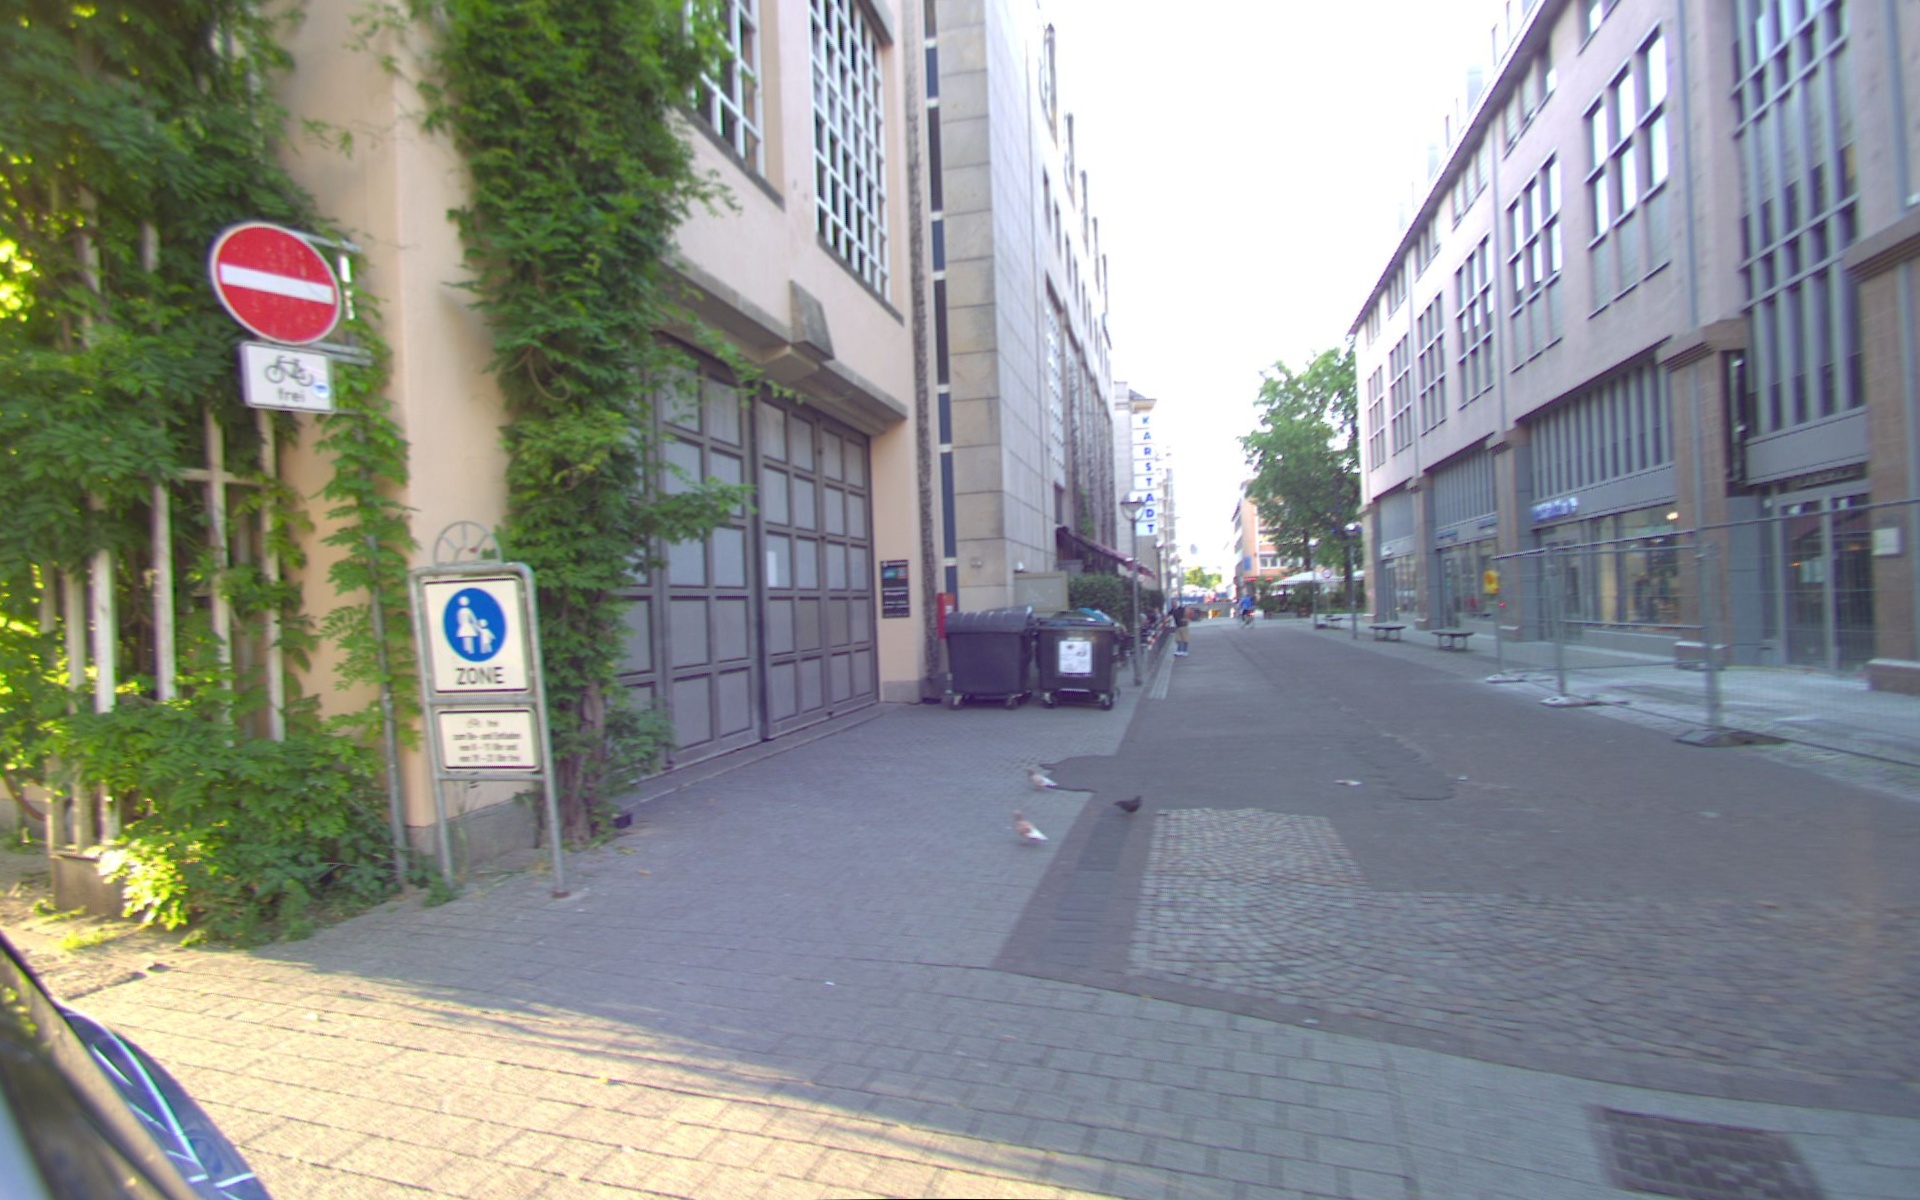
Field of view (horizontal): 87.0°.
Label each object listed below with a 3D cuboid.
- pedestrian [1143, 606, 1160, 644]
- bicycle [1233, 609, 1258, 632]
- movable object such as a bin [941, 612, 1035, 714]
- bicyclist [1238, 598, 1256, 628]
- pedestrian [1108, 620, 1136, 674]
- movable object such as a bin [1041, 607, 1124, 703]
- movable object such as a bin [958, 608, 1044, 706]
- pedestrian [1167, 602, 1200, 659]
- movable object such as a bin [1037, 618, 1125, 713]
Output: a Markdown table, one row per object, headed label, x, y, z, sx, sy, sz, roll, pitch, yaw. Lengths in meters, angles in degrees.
| label | x | y | z | sx | sy | sz | roll | pitch | yaw |
| --- | --- | --- | --- | --- | --- | --- | --- | --- | --- |
| pedestrian | 7.316 | 0.963 | 38.574 | 0.583 | 1.419 | 0.630 | -2 | -1 | 12 |
| bicycle | 13.818 | 0.989 | 48.995 | 0.536 | 1.059 | 1.950 | -2 | -1 | -4 |
| movable object such as a bin | 0.445 | 0.913 | 15.114 | 1.219 | 1.448 | 1.164 | -1 | -1 | 11 |
| bicyclist | 13.829 | 0.624 | 48.809 | 0.580 | 1.419 | 0.633 | -2 | -1 | -3 |
| pedestrian | 3.774 | 1.091 | 23.573 | 0.583 | 1.210 | 0.630 | -2 | -1 | 12 |
| movable object such as a bin | 2.011 | 0.864 | 16.458 | 1.264 | 1.478 | 1.164 | 1 | 0 | 11 |
| movable object such as a bin | 0.678 | 0.896 | 16.297 | 1.219 | 1.499 | 1.164 | -1 | -1 | 11 |
| pedestrian | 6.423 | 0.869 | 29.078 | 0.695 | 1.599 | 0.713 | -3 | -1 | 33 |
| movable object such as a bin | 1.835 | 0.951 | 15.191 | 1.219 | 1.340 | 1.164 | 1 | 0 | 11 |
